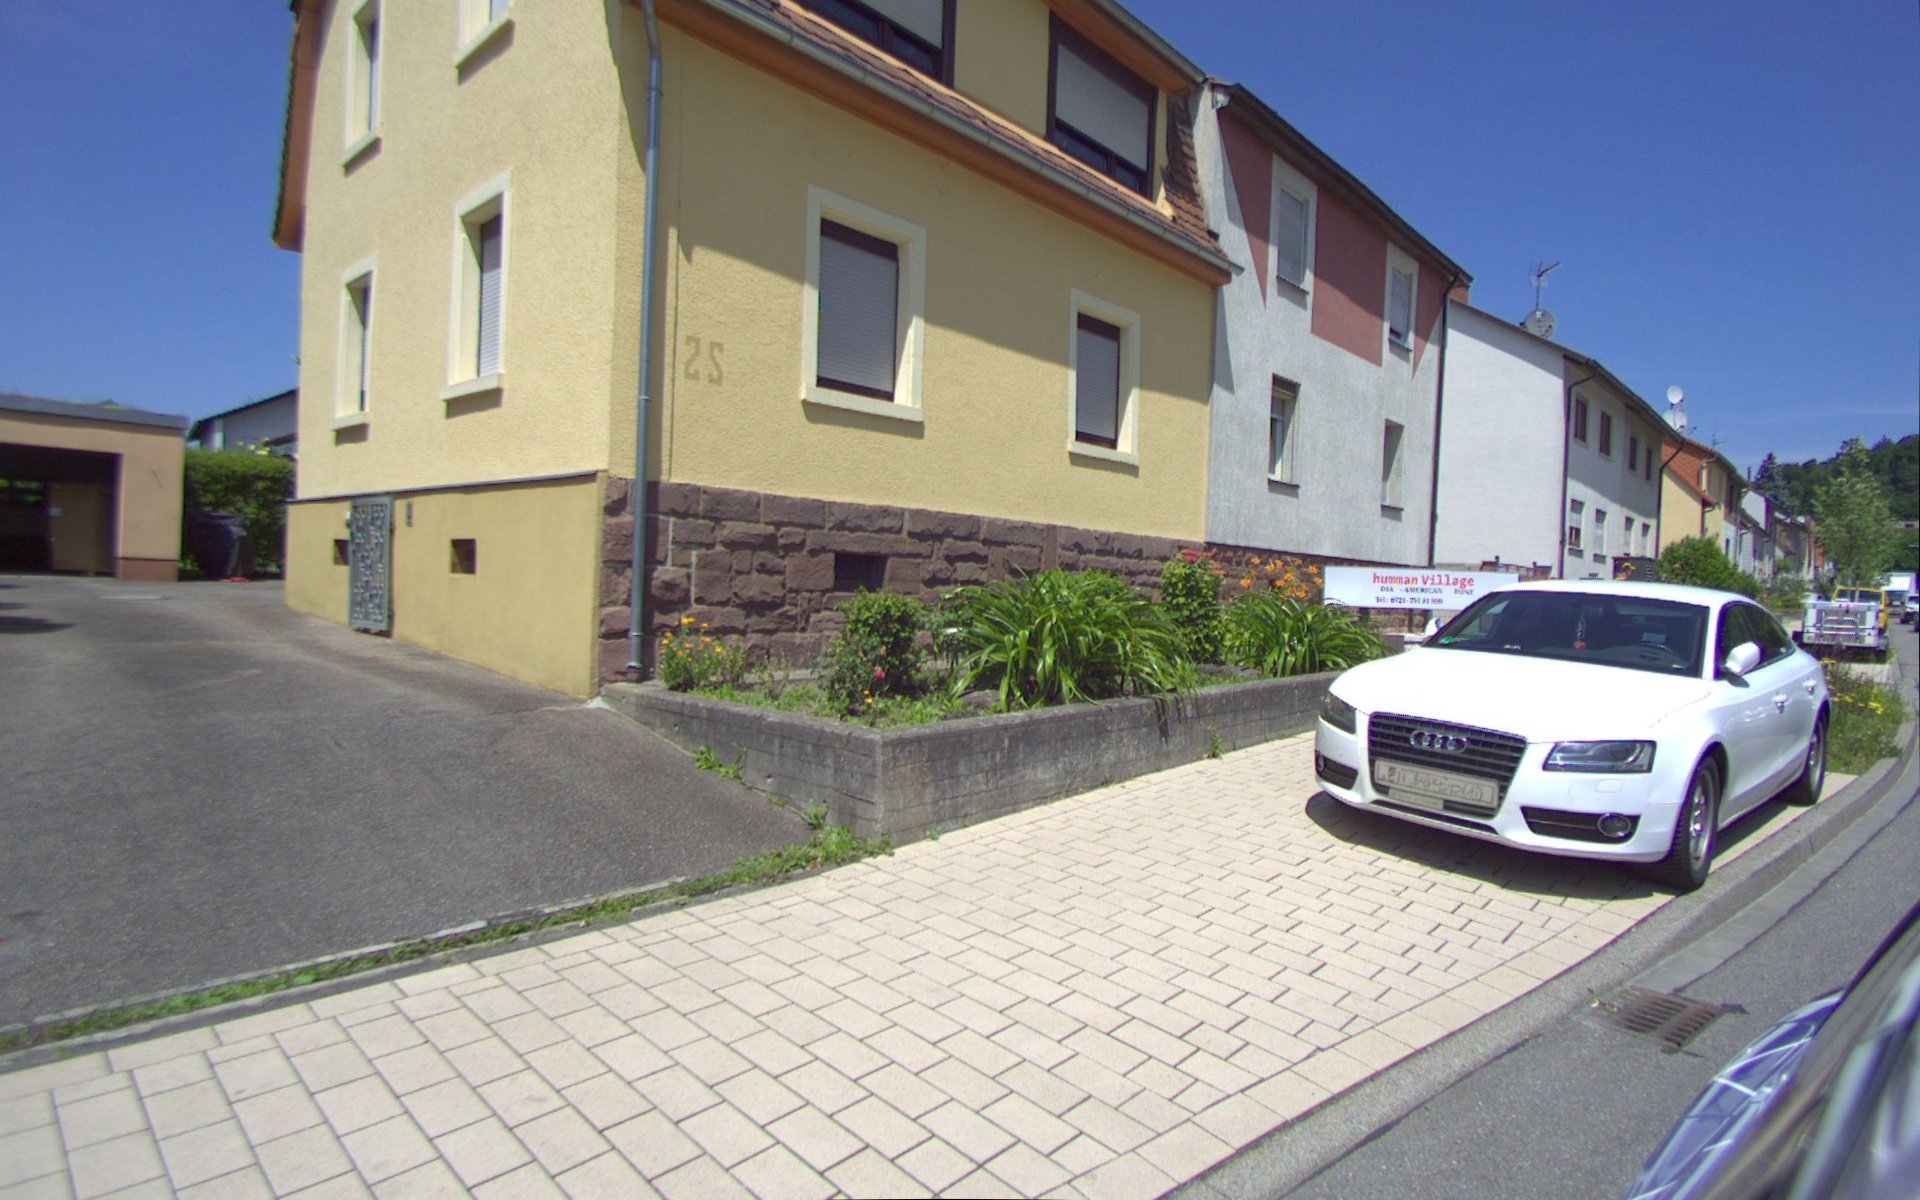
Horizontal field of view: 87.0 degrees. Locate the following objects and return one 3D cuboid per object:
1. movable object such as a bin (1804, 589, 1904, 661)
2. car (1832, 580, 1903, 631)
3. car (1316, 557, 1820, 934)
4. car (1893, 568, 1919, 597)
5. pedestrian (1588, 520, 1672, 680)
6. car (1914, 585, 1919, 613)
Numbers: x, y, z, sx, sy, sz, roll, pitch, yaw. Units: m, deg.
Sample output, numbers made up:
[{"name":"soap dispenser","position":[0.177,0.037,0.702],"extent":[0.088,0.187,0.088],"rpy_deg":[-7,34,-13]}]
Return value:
[{"name":"movable object such as a bin","position":[20.290,0.513,22.980],"extent":[1.571,1.434,2.995],"rpy_deg":[3,3,42]},{"name":"car","position":[39.961,0.180,44.636],"extent":[2.188,2.038,5.539],"rpy_deg":[1,2,42]},{"name":"car","position":[4.038,0.491,6.290],"extent":[1.756,1.434,4.562],"rpy_deg":[5,5,42]},{"name":"car","position":[73.311,-1.339,78.023],"extent":[1.981,2.210,3.938],"rpy_deg":[0,1,43]},{"name":"pedestrian","position":[8.928,-0.012,13.478],"extent":[0.746,2.039,1.017],"rpy_deg":[0,1,44]},{"name":"car","position":[60.777,-0.076,62.897],"extent":[1.992,1.748,3.940],"rpy_deg":[0,0,41]}]
